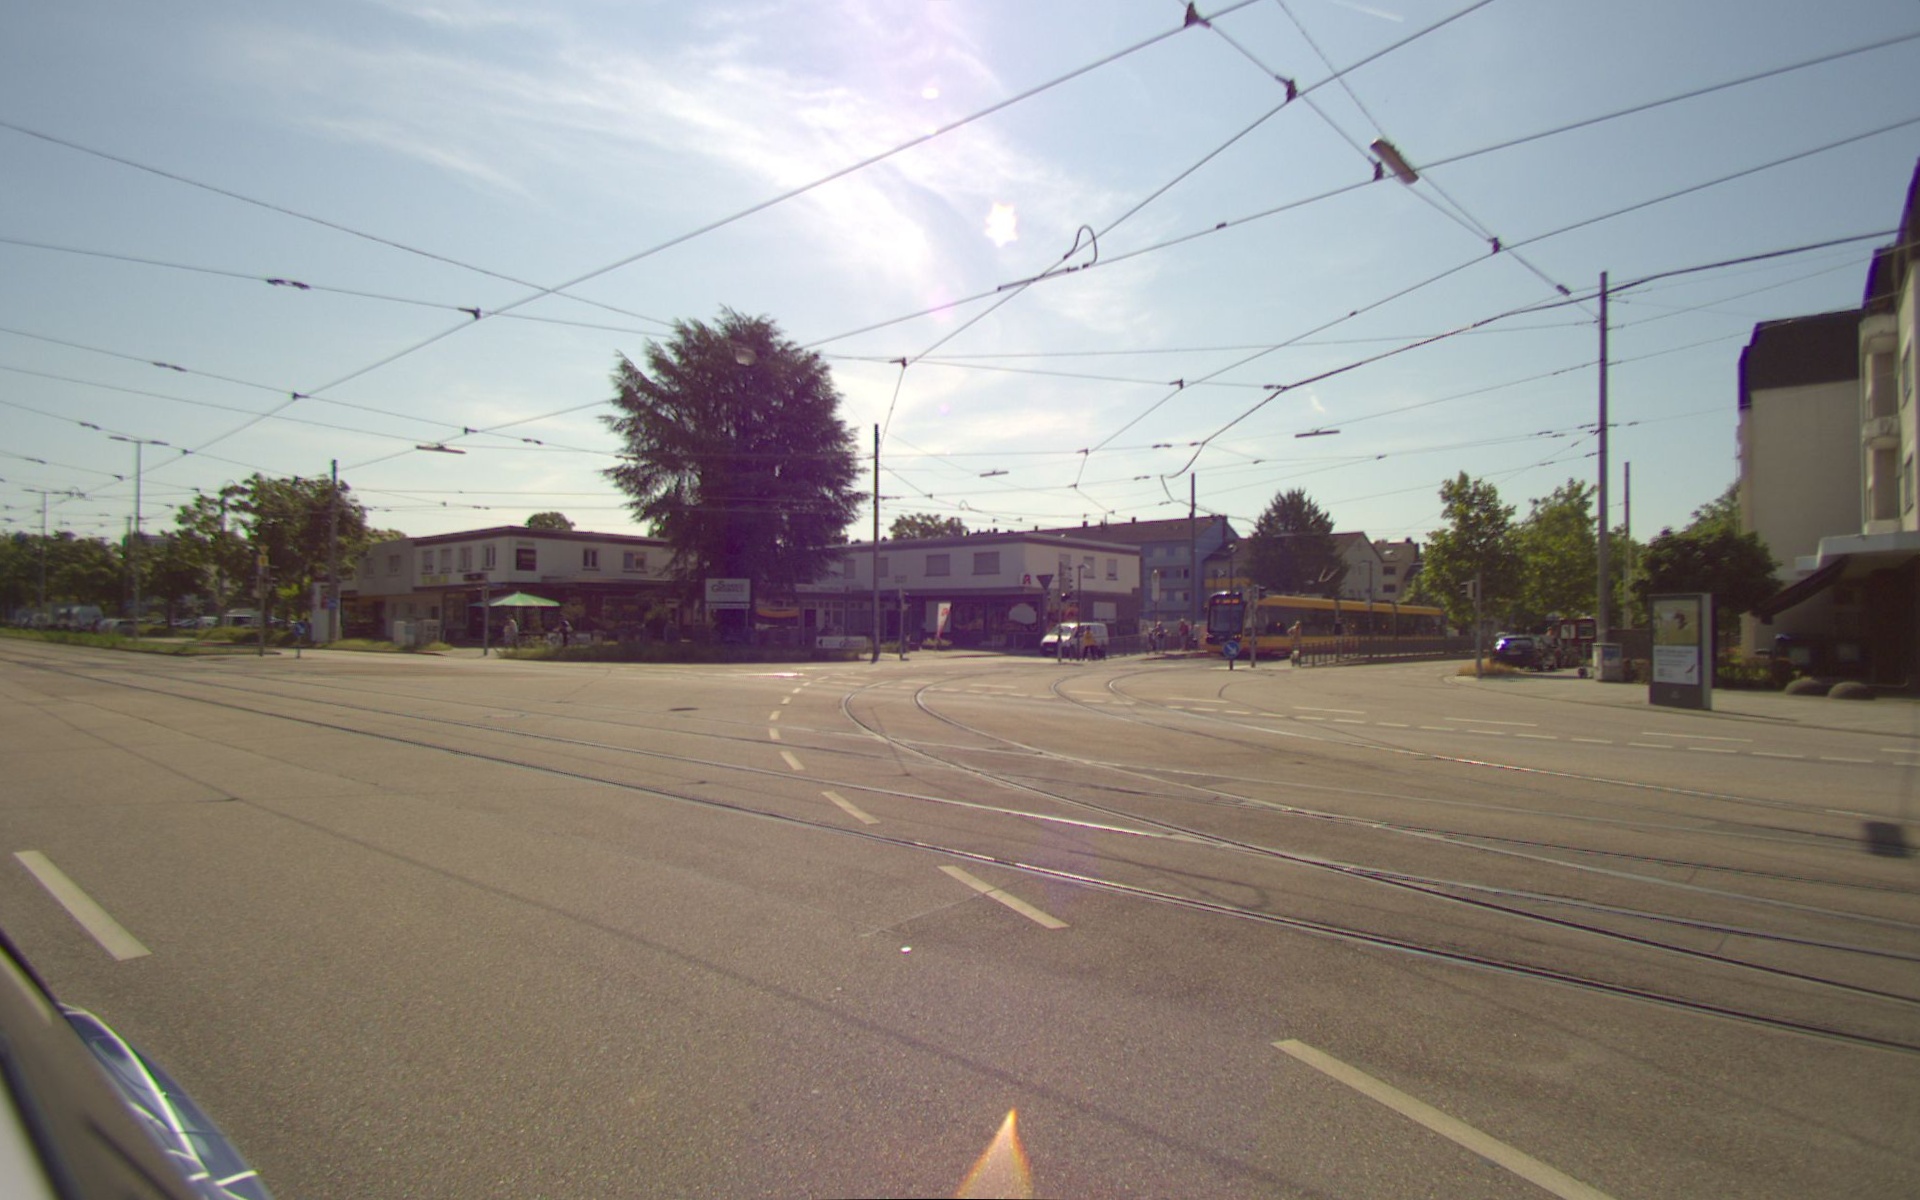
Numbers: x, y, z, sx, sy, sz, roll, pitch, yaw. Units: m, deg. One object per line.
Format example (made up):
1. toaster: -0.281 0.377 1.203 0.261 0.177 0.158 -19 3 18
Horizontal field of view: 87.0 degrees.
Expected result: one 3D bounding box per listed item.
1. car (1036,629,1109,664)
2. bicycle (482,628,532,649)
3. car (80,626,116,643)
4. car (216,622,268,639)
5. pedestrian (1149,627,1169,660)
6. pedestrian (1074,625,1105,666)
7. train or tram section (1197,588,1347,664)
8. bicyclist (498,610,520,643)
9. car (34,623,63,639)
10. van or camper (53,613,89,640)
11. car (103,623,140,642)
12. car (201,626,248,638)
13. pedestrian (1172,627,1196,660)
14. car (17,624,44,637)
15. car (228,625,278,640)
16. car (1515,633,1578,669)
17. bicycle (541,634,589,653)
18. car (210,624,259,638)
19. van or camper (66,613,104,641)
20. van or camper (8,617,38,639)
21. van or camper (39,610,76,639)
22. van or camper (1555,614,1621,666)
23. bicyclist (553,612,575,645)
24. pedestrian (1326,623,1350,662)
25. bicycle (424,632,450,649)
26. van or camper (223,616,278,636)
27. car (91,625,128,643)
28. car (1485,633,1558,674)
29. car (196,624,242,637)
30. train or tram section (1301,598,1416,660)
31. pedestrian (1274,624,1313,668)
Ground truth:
1. car: 6.308 2.567 56.345 1.776 1.876 4.596 -1 -3 40
2. bicycle: -21.754 1.854 48.614 2.102 0.954 0.536 1 -2 -8
3. car: -80.716 3.208 94.781 4.229 1.506 1.868 -1 -3 40
4. car: -69.907 2.974 98.595 1.949 1.581 3.703 -1 -3 39
5. pedestrian: 9.973 2.168 50.802 0.784 1.639 0.651 -1 -3 41
6. pedestrian: 5.989 2.097 46.687 0.896 1.851 1.185 -1 -3 41
7. train or tram section: 17.448 1.499 55.563 2.767 3.686 13.721 -1 -3 40
8. bicyclist: -21.695 1.284 48.668 0.754 1.570 0.633 2 -3 -7
9. car: -102.418 3.434 113.699 4.229 1.748 1.868 -1 -3 40
10. van or camper: -90.203 2.715 102.620 4.836 2.652 2.014 -1 -3 40
11. car: -72.603 2.823 87.612 4.284 1.506 1.868 -1 0 42
12. car: -75.781 3.305 104.307 1.811 1.291 3.579 -1 -3 39
13. pedestrian: 11.775 2.286 53.106 0.813 1.693 1.079 -1 -3 41
14. car: -112.138 3.716 122.133 4.229 1.572 1.868 -1 -3 40
15. car: -67.878 3.145 97.169 1.710 1.372 3.579 -1 -3 39
16. car: 26.236 2.255 45.229 1.827 1.511 3.946 -1 -3 40
17. bicycle: -19.109 2.095 48.951 2.110 0.897 0.574 0 -2 7
18. car: -71.725 3.079 100.040 1.710 1.294 3.579 -1 -3 39
19. van or camper: -84.803 2.649 98.085 4.836 2.652 2.014 -1 -3 40
20. van or camper: -116.950 3.424 126.317 5.449 2.639 2.086 -1 -4 41
21. van or camper: -96.152 2.619 107.808 5.278 3.008 2.101 -1 -3 40
22. van or camper: 33.520 2.111 53.990 2.374 2.644 4.826 -1 -3 39
23. bicyclist: -19.168 1.366 49.028 0.756 1.587 0.631 0 -2 5
24. pedestrian: 17.355 1.933 46.435 0.764 1.773 0.800 -2 -3 44
25. bicycle: -32.954 2.546 63.757 1.910 0.990 0.750 -1 -3 41
26. van or camper: -100.667 3.658 143.553 2.299 2.751 6.001 -1 -3 43
27. car: -76.627 3.082 91.173 4.282 1.572 1.868 -1 -3 40
28. car: 22.403 2.107 40.323 1.827 1.511 4.130 -1 -3 40
29. car: -79.101 3.252 108.028 1.710 1.291 3.579 -1 -3 39
30. train or tram section: 26.261 1.971 66.052 2.767 3.686 13.721 -1 -3 40
31. pedestrian: 14.474 1.977 43.898 1.123 1.850 1.418 -2 -3 44
